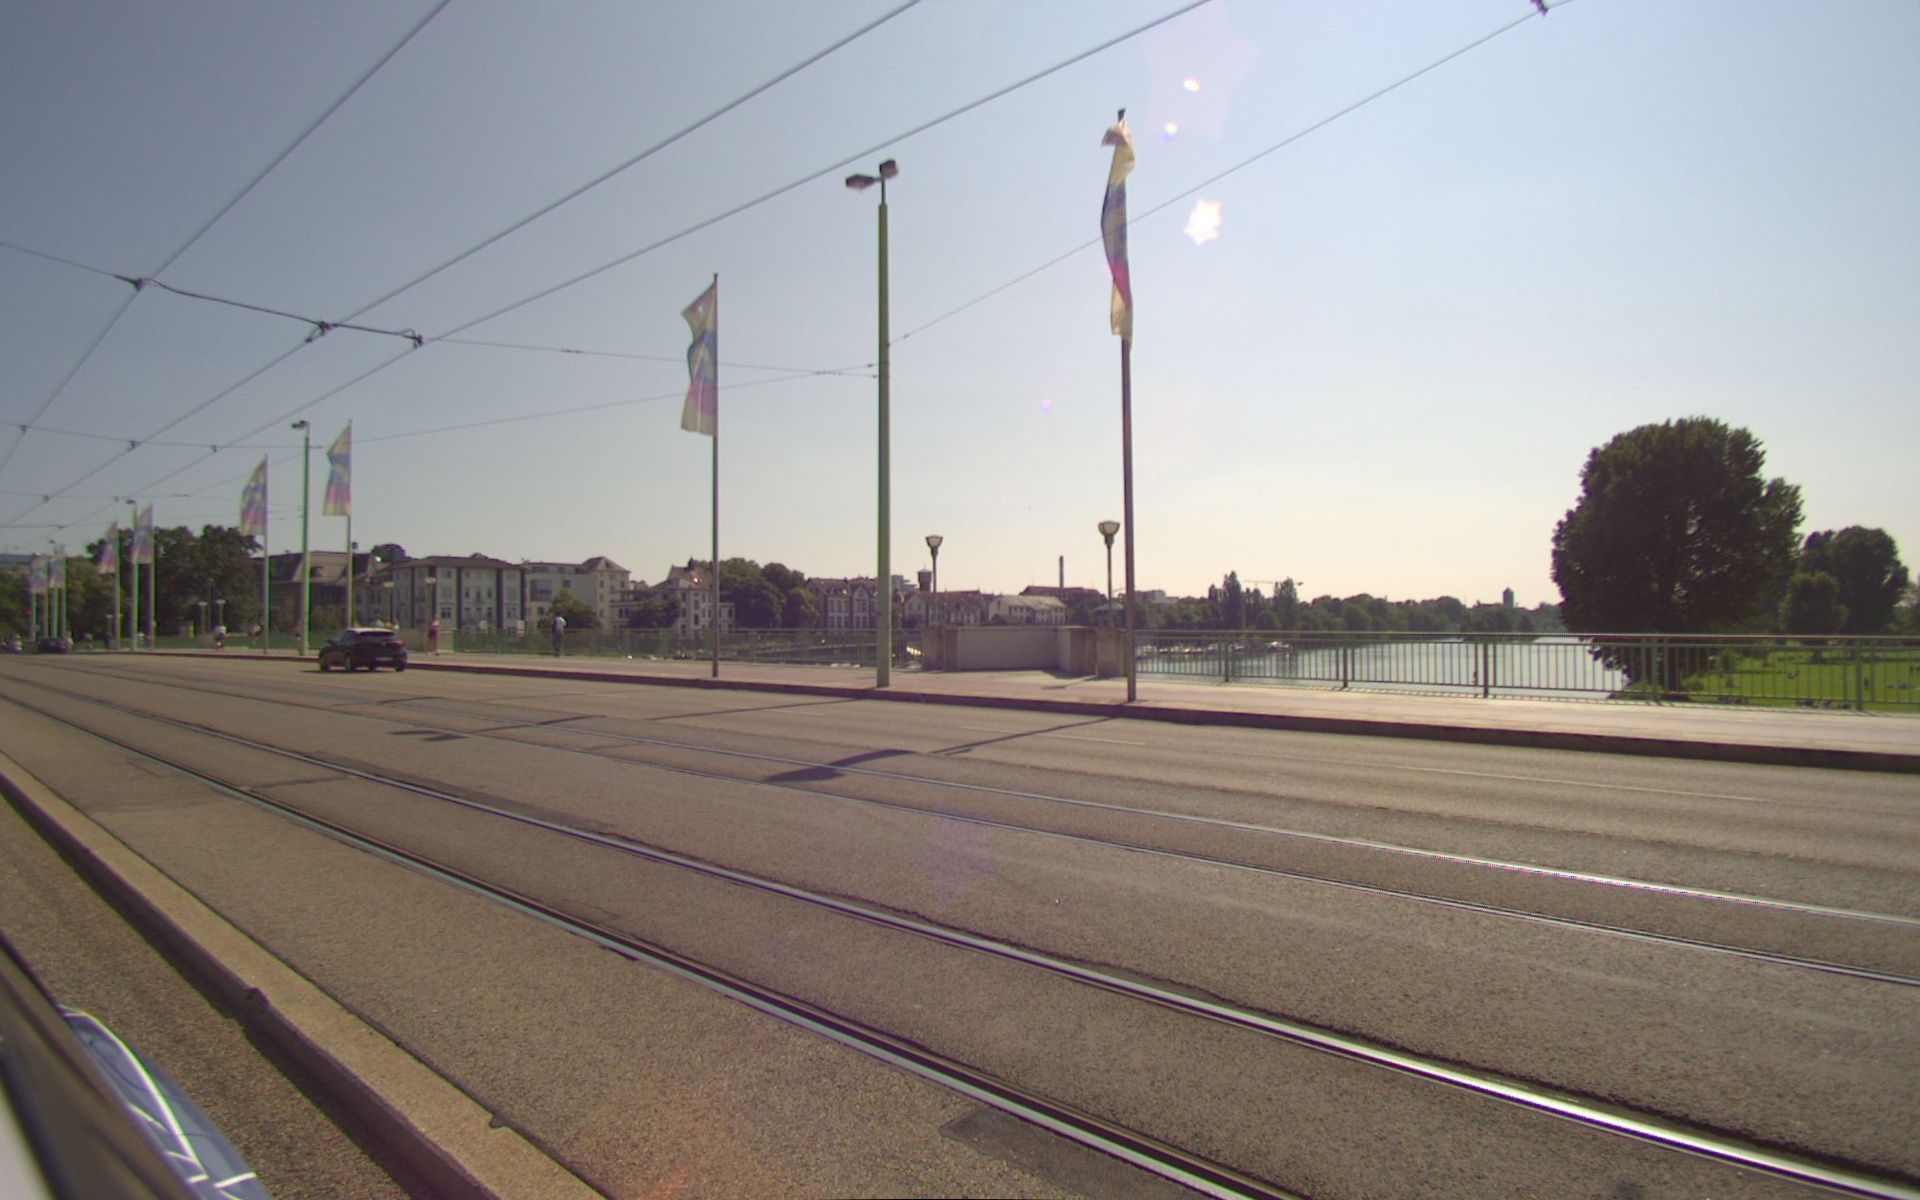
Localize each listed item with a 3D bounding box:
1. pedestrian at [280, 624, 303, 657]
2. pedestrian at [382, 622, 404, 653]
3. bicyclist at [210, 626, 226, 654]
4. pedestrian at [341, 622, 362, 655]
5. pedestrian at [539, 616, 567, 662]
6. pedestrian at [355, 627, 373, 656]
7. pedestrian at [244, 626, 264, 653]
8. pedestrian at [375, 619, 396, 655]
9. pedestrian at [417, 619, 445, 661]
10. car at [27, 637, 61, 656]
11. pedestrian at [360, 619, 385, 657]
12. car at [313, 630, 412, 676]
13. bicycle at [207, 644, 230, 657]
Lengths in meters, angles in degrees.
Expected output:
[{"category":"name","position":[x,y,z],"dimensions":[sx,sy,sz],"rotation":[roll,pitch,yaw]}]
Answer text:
[{"category":"pedestrian","position":[-36.399,2.186,55.097],"dimensions":[1.022,1.712,0.777],"rotation":[-2,0,41]},{"category":"pedestrian","position":[-26.478,1.754,47.250],"dimensions":[1.022,1.425,0.584],"rotation":[-2,0,41]},{"category":"bicyclist","position":[-44.764,2.416,61.084],"dimensions":[0.621,1.663,0.657],"rotation":[-2,-2,42]},{"category":"pedestrian","position":[-30.714,1.955,51.096],"dimensions":[1.022,1.611,0.619],"rotation":[-2,0,41]},{"category":"pedestrian","position":[-15.571,1.479,38.708],"dimensions":[1.022,1.712,0.584],"rotation":[-2,0,41]},{"category":"pedestrian","position":[-30.322,2.116,51.492],"dimensions":[0.788,1.448,0.540],"rotation":[-2,0,41]},{"category":"pedestrian","position":[-45.861,2.531,65.714],"dimensions":[1.022,1.712,0.777],"rotation":[-2,0,41]},{"category":"pedestrian","position":[-28.644,1.837,50.432],"dimensions":[1.022,1.712,0.584],"rotation":[-2,0,41]},{"category":"pedestrian","position":[-22.306,1.687,42.654],"dimensions":[1.022,1.703,0.677],"rotation":[-2,0,41]},{"category":"car","position":[-74.022,3.731,81.766],"dimensions":[3.999,1.447,1.650],"rotation":[-1,-2,42]},{"category":"pedestrian","position":[-27.313,1.775,47.046],"dimensions":[1.022,1.712,0.663],"rotation":[-2,0,41]},{"category":"car","position":[-20.009,1.738,33.850],"dimensions":[3.900,1.466,1.698],"rotation":[-2,-3,41]},{"category":"bicycle","position":[-44.766,3.023,61.095],"dimensions":[2.172,0.721,0.658],"rotation":[-2,-2,42]}]
